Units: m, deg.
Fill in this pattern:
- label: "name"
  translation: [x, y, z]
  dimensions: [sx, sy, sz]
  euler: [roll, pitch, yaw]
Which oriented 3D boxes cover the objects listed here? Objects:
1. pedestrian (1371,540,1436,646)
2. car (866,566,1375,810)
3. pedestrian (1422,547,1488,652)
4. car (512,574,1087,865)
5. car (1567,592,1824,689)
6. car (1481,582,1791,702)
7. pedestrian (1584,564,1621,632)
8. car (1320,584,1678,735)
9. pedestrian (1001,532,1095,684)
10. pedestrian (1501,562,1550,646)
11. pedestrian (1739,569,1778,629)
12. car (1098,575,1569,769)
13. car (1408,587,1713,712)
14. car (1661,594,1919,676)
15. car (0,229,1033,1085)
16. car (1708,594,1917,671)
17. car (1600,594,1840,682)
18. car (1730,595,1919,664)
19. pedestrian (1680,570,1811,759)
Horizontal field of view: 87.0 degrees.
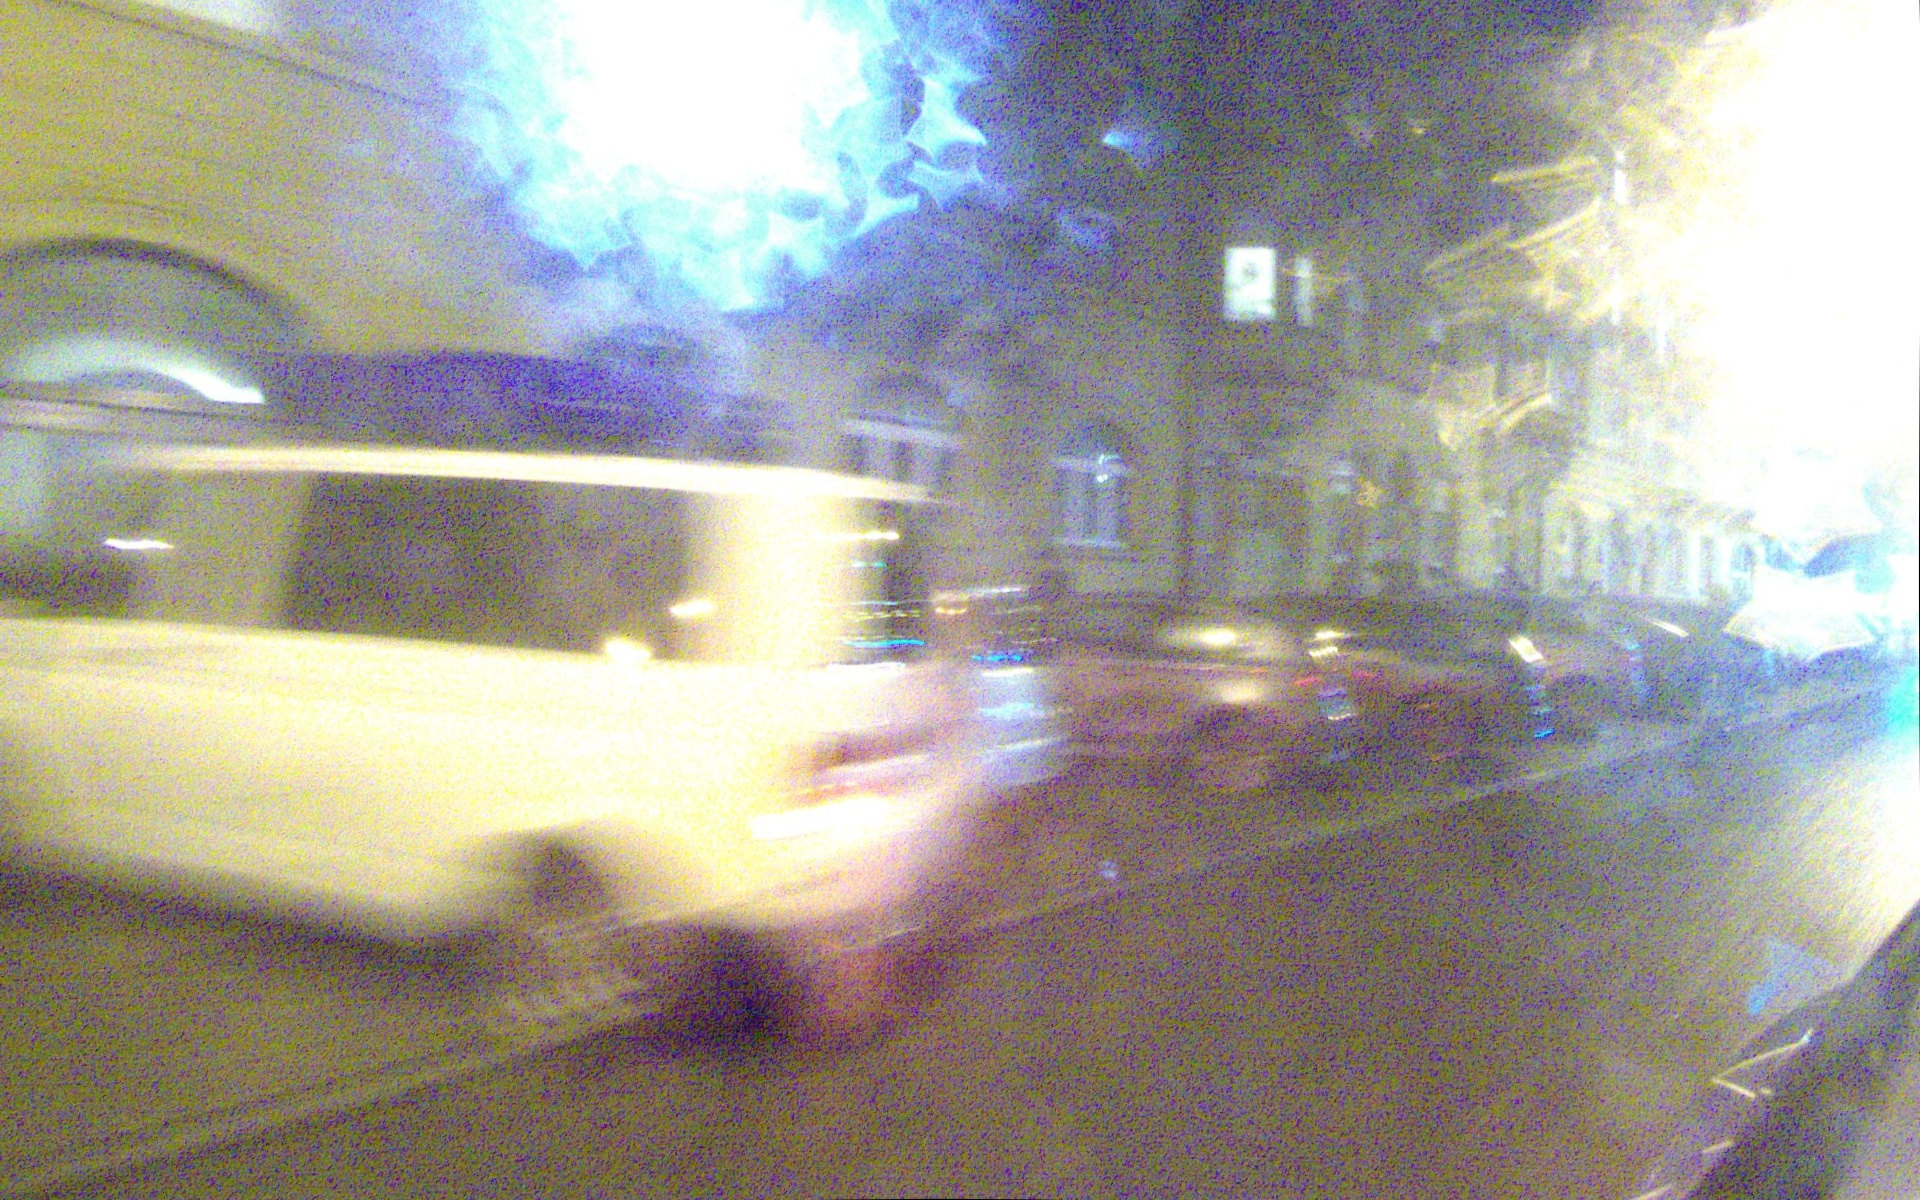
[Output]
- label: "pedestrian"
  translation: [8.349, -0.126, 19.051]
  dimensions: [0.828, 1.928, 0.747]
  euler: [3, 0, -41]
- label: "car"
  translation: [1.268, 0.555, 8.154]
  dimensions: [3.684, 1.486, 1.603]
  euler: [3, 2, 20]
- label: "pedestrian"
  translation: [9.097, -0.008, 18.597]
  dimensions: [0.855, 1.864, 0.747]
  euler: [3, 0, -41]
- label: "car"
  translation: [-1.044, 0.585, 6.632]
  dimensions: [3.417, 1.486, 1.617]
  euler: [0, 1, 25]
- label: "car"
  translation: [13.178, 0.679, 18.335]
  dimensions: [3.347, 1.581, 1.632]
  euler: [1, 1, 14]
- label: "car"
  translation: [10.575, 0.593, 16.175]
  dimensions: [3.755, 1.710, 1.824]
  euler: [1, 0, 20]
- label: "pedestrian"
  translation: [16.375, -0.047, 25.782]
  dimensions: [0.590, 1.685, 0.575]
  euler: [4, 0, -41]
- label: "car"
  translation: [6.242, 0.625, 12.128]
  dimensions: [3.460, 1.581, 1.587]
  euler: [1, 1, 15]
- label: "pedestrian"
  translation: [1.134, 0.101, 13.014]
  dimensions: [0.828, 1.864, 0.747]
  euler: [3, 0, -41]
- label: "pedestrian"
  translation: [12.621, 0.088, 22.593]
  dimensions: [0.770, 1.812, 0.657]
  euler: [4, 0, -41]
- label: "pedestrian"
  translation: [26.707, -0.025, 33.866]
  dimensions: [0.868, 1.930, 0.805]
  euler: [3, 0, -41]
- label: "car"
  translation: [3.534, 0.577, 10.035]
  dimensions: [4.004, 1.580, 1.738]
  euler: [1, 1, 22]
- label: "car"
  translation: [8.322, 0.625, 14.333]
  dimensions: [3.346, 1.581, 1.588]
  euler: [1, 1, 13]
- label: "car"
  translation: [17.861, 0.711, 21.909]
  dimensions: [4.052, 1.510, 1.589]
  euler: [2, 1, 13]
- label: "car"
  translation: [-2.289, 0.104, 4.583]
  dimensions: [4.874, 2.370, 2.220]
  euler: [1, 1, 17]
- label: "car"
  translation: [20.040, 0.727, 23.943]
  dimensions: [3.347, 1.612, 1.588]
  euler: [2, 1, 14]
- label: "car"
  translation: [14.985, 0.704, 20.156]
  dimensions: [3.435, 1.581, 1.628]
  euler: [1, 1, 17]
- label: "car"
  translation: [21.902, 0.710, 25.513]
  dimensions: [3.545, 1.581, 1.706]
  euler: [1, 1, 12]
- label: "pedestrian"
  translation: [7.979, 0.607, 10.274]
  dimensions: [1.157, 1.792, 0.823]
  euler: [1, 0, -40]
